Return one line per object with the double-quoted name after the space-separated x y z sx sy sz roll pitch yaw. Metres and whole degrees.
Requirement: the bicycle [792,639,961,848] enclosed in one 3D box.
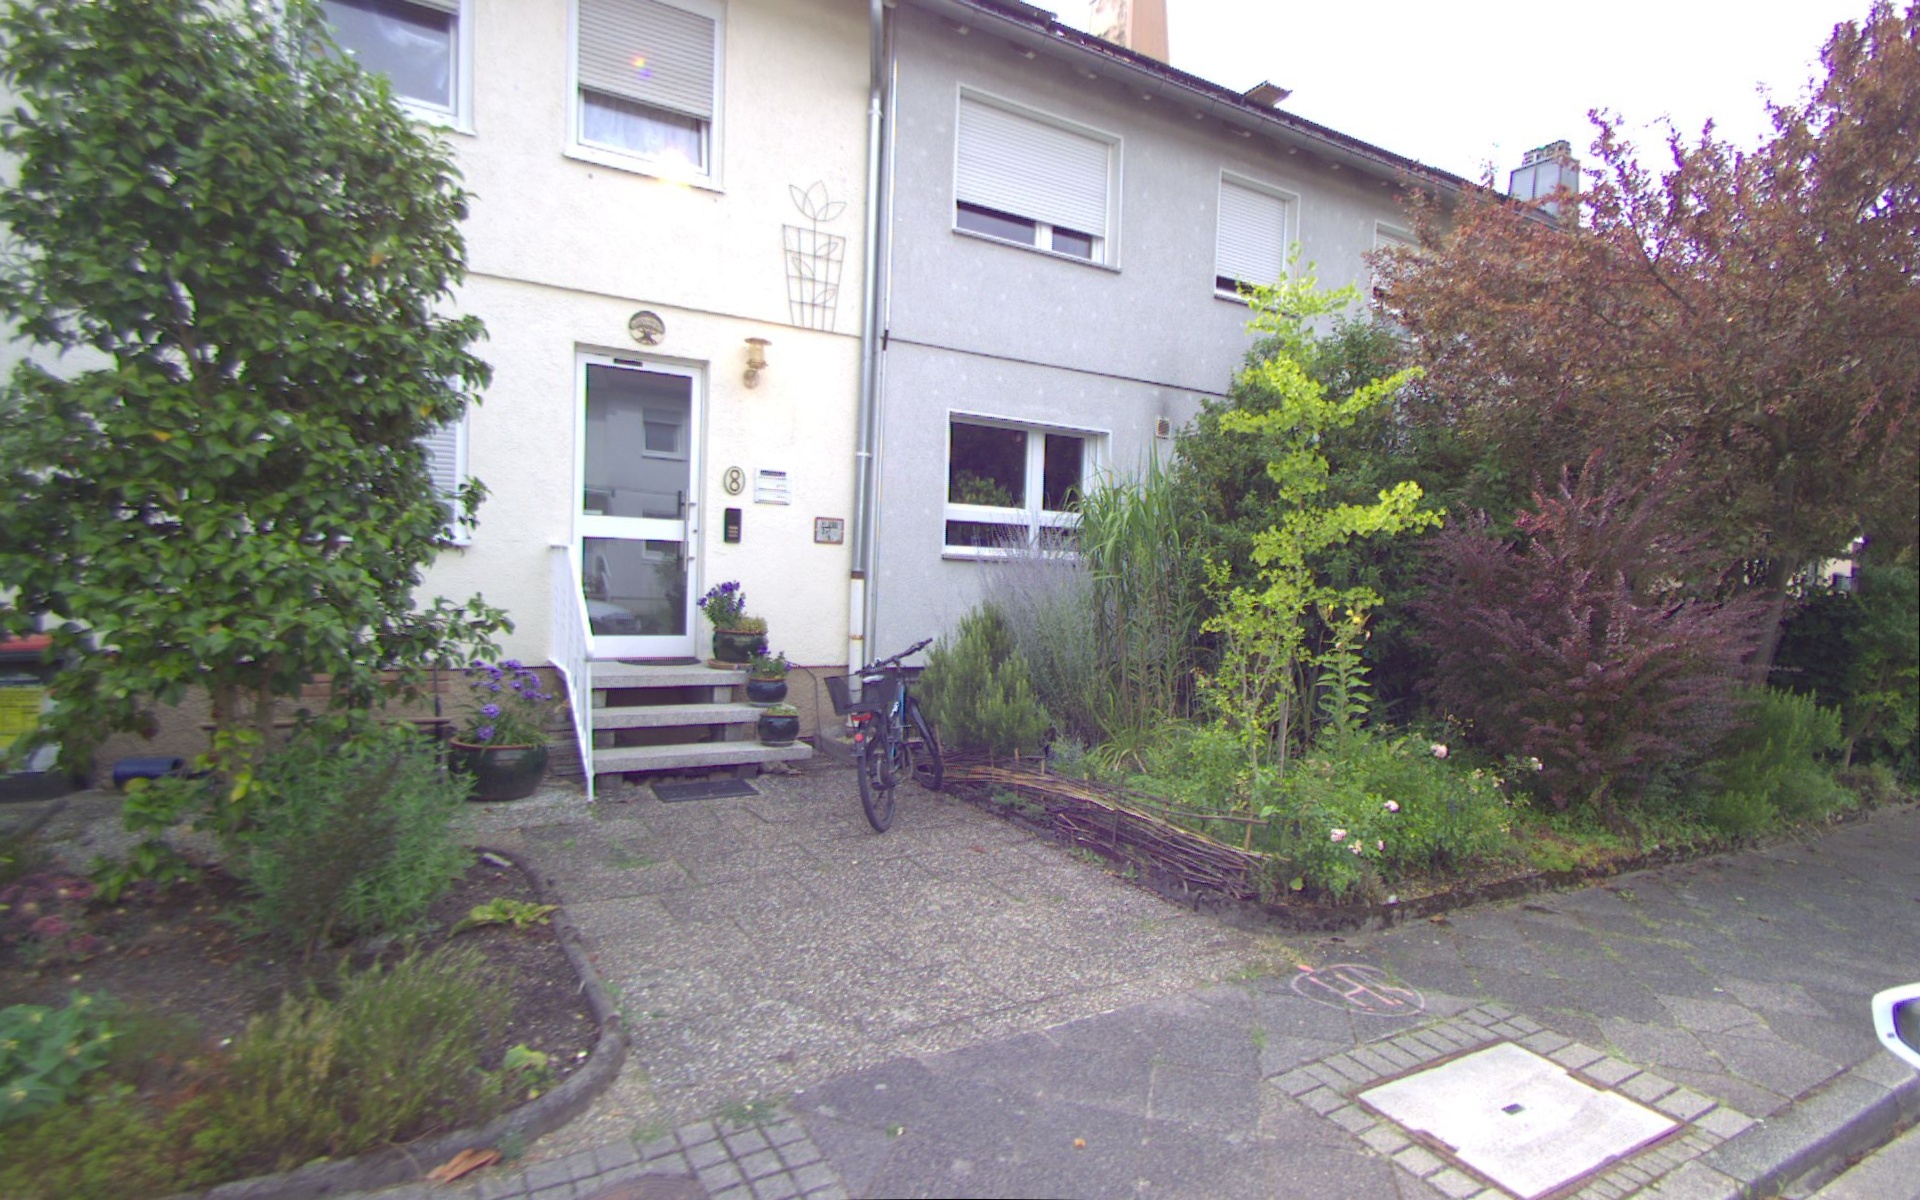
-0.415 0.735 5.782 0.518 0.905 1.703 1 2 11 "bicycle"
